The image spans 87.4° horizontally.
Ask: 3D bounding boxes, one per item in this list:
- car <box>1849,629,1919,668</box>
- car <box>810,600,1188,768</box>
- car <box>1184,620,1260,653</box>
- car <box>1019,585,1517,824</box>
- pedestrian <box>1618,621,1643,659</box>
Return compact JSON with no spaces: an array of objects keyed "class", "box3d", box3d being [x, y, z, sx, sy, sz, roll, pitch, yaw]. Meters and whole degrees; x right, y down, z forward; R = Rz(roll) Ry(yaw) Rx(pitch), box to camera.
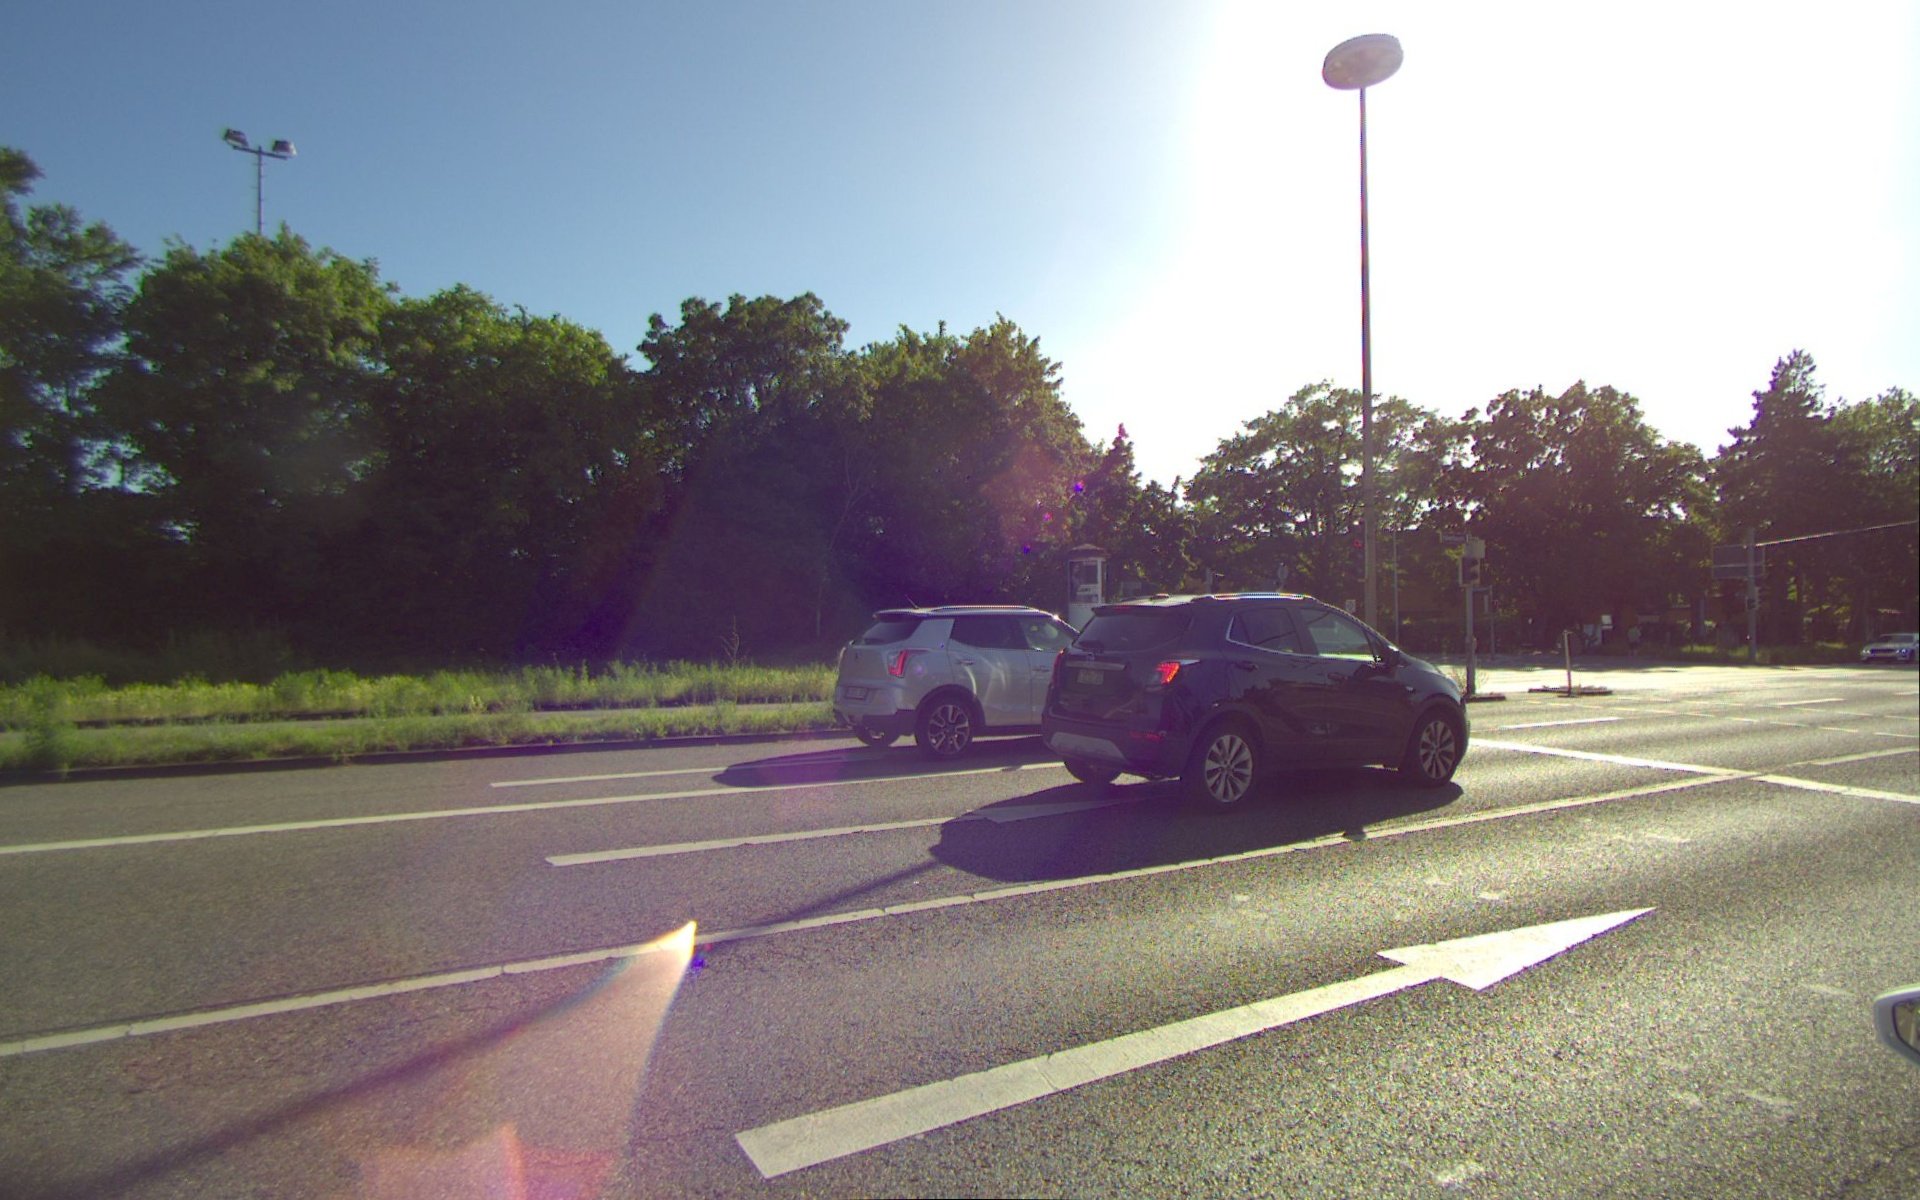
[{"class":"car","box3d":[44.756,2.314,48.209,4.210,1.706,1.855,2,0,-30]},{"class":"car","box3d":[0.504,0.874,11.572,4.058,1.631,1.776,1,-2,-30]},{"class":"car","box3d":[13.122,1.806,50.559,1.841,1.442,3.914,2,0,-19]},{"class":"car","box3d":[2.799,0.786,8.813,4.366,1.653,1.688,1,-2,-30]},{"class":"pedestrian","box3d":[33.438,1.990,50.089,0.542,1.859,0.843,1,-2,-26]}]
